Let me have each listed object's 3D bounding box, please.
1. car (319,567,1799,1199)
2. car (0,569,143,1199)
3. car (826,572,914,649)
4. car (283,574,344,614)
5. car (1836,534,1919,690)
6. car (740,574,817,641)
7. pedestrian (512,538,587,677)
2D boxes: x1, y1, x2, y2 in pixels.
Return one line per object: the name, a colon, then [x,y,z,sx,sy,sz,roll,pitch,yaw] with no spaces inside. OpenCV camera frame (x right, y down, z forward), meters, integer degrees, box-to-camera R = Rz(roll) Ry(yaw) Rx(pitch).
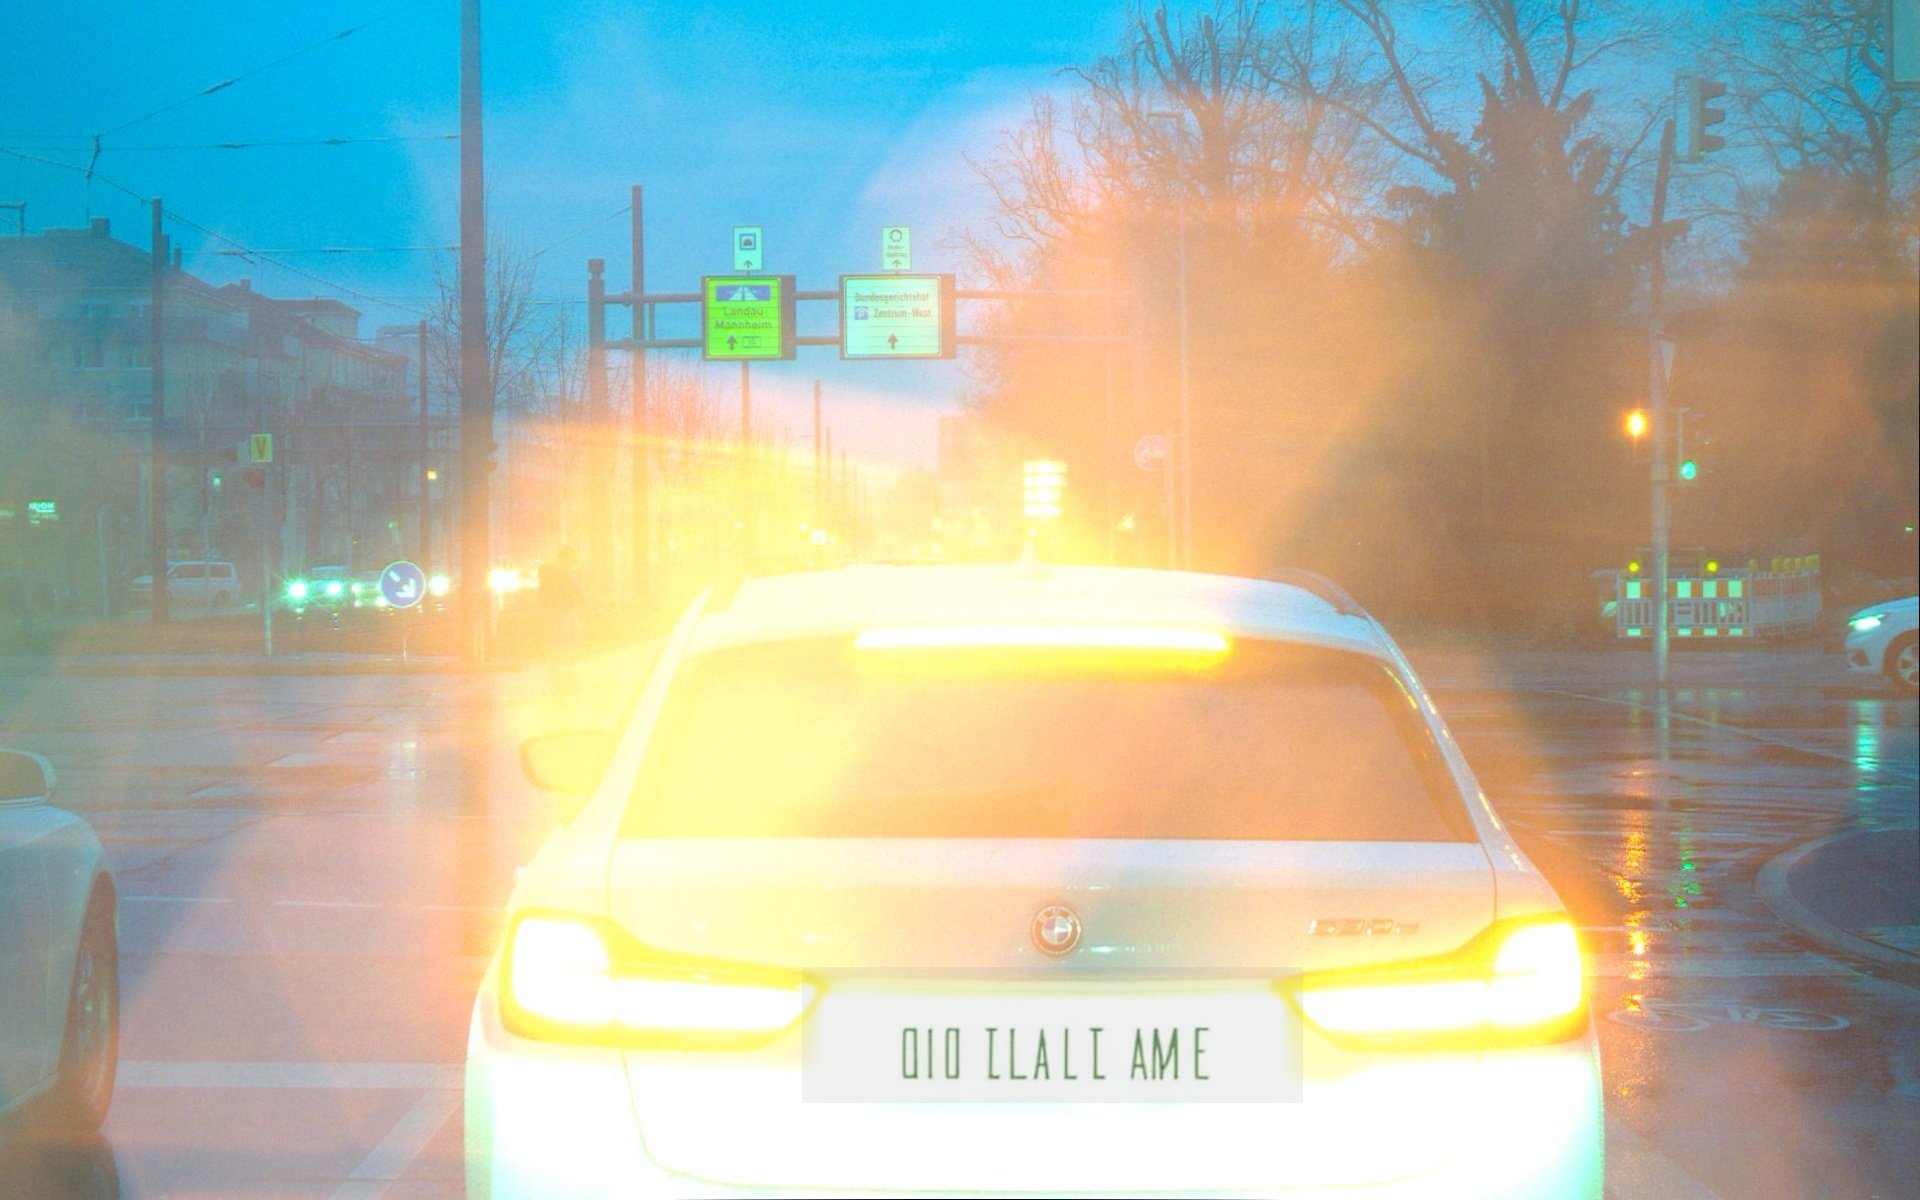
car: [0.044,0.683,6.817,1.993,1.451,4.369,0,1,-2]
car: [-3.102,0.680,7.035,1.993,1.451,4.369,0,1,-2]
car: [-1.959,0.220,74.648,1.843,1.603,3.945,1,0,-2]
car: [-24.995,-0.230,133.005,1.675,1.502,3.696,1,0,-1]
car: [11.043,0.157,34.887,3.959,1.548,1.747,1,0,22]
car: [-4.599,0.178,86.635,1.842,1.603,3.945,1,0,-4]
pedestrian: [-5.568,0.099,46.632,0.902,1.850,0.812,1,0,-12]
